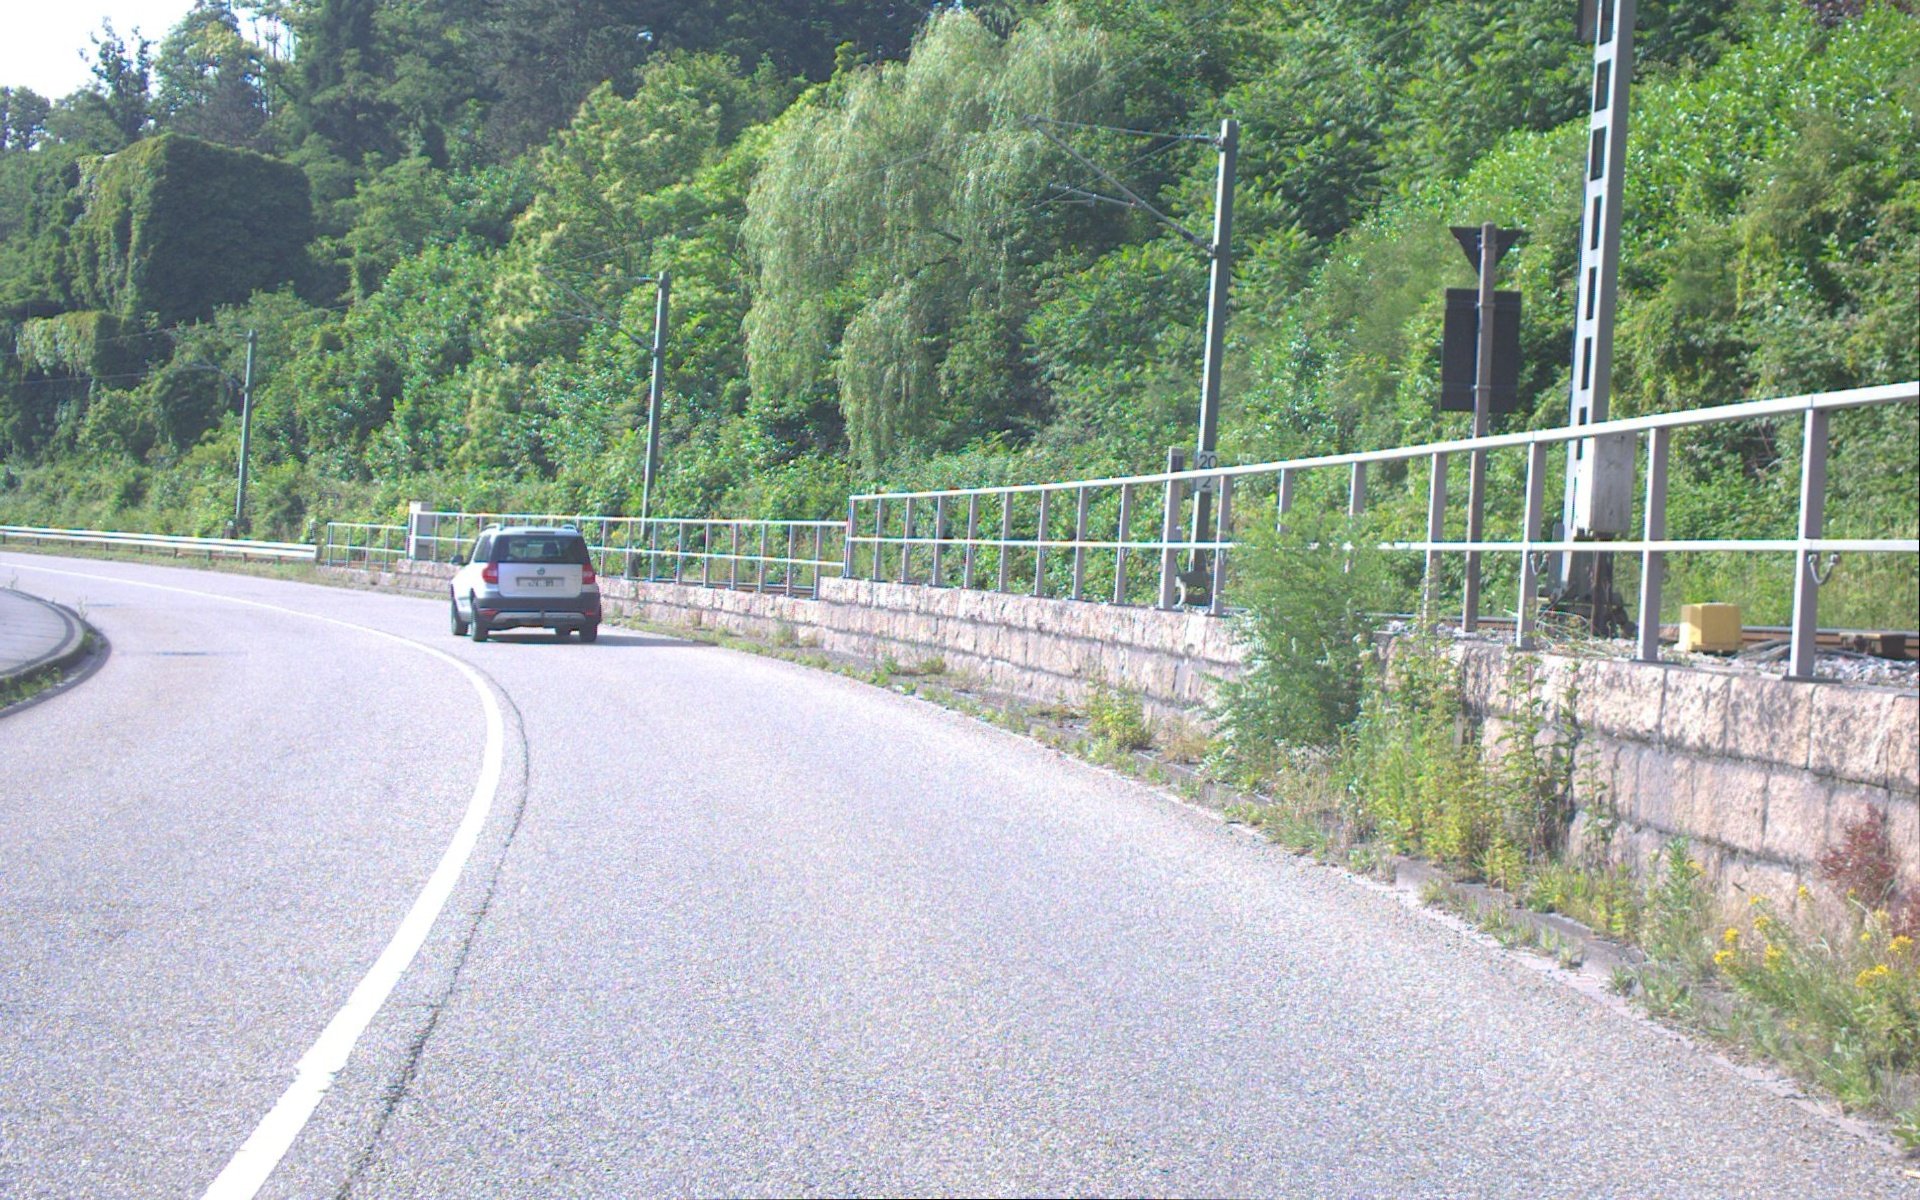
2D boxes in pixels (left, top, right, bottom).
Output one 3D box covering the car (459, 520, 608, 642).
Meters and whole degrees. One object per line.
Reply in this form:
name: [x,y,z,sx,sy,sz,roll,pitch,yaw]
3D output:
car: [-6.188,-0.308,49.559,1.872,1.650,4.001,1,1,-10]
